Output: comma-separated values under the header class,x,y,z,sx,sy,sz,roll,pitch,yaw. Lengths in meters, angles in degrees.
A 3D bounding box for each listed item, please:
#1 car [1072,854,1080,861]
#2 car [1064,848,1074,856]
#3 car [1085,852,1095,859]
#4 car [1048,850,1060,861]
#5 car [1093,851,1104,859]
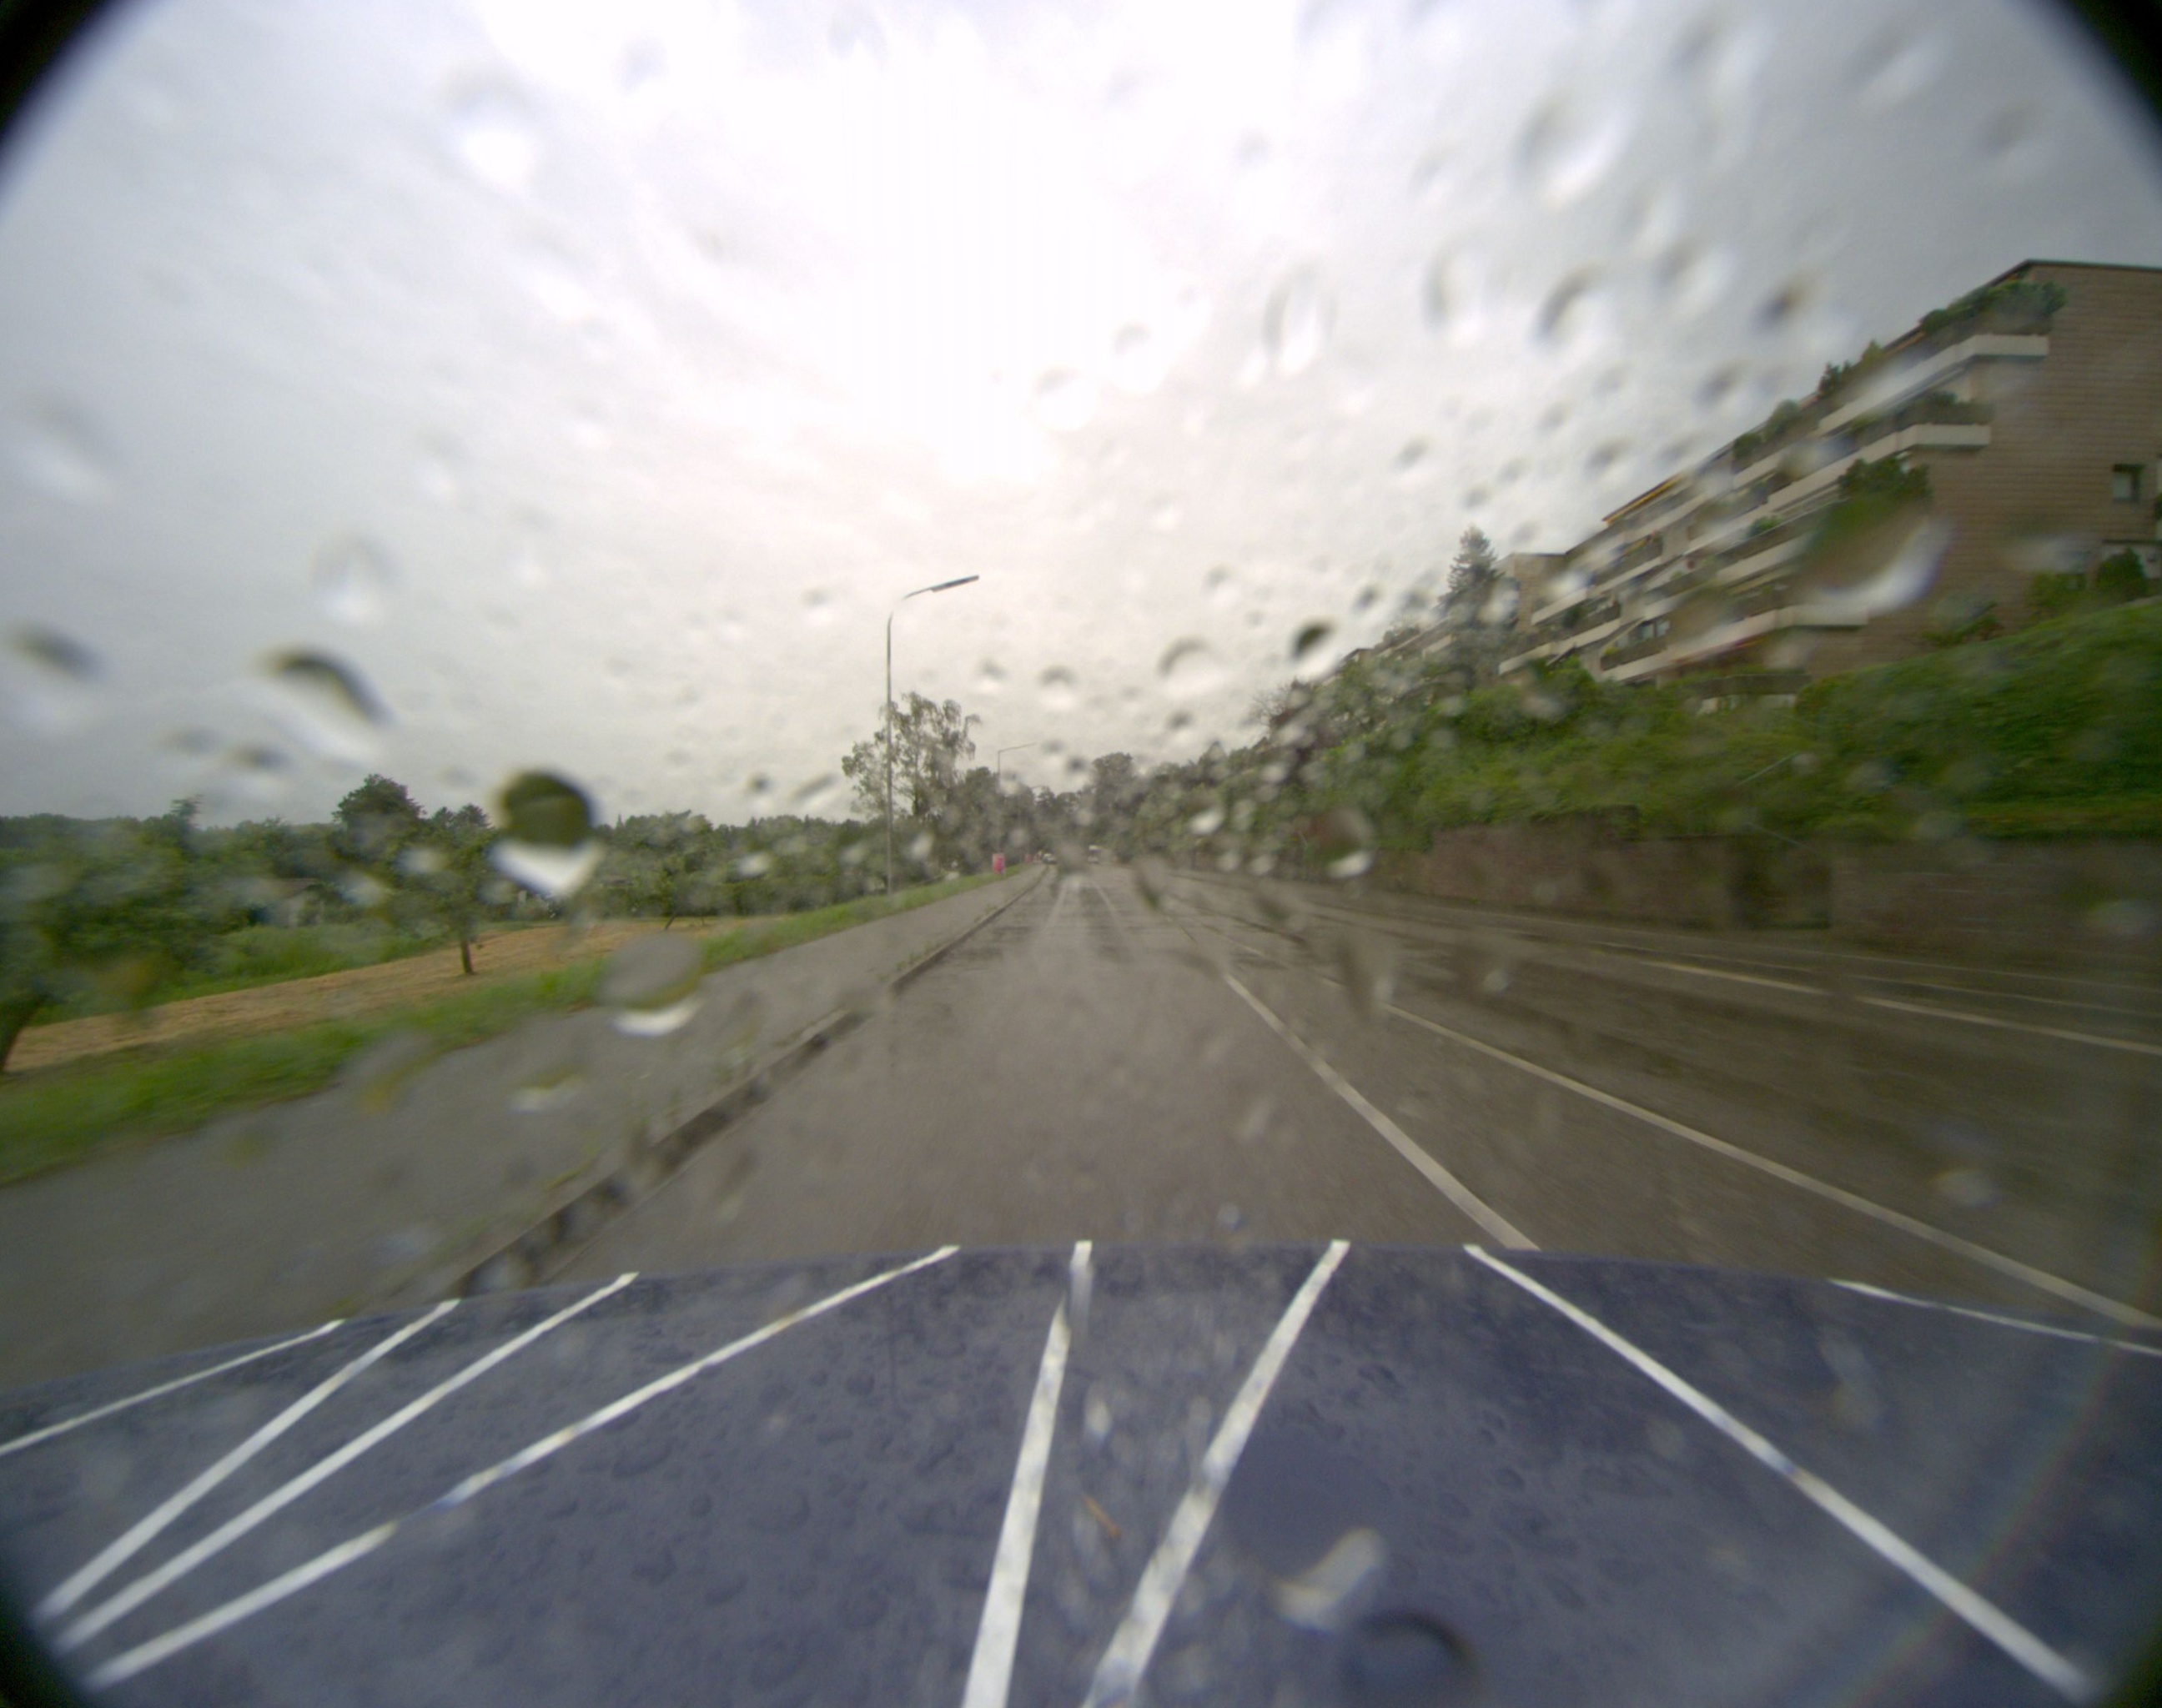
class,x,y,z,sx,sy,sz,roll,pitch,yaw
car,-1.083,0.740,159.272,1.597,1.433,3.703,1,0,-3
car,-3.360,-0.502,206.001,1.855,2.137,3.701,-2,0,-13
car,1.918,0.321,166.894,1.853,1.583,3.704,-2,0,-3
car,-4.957,0.314,139.957,1.999,2.001,4.000,-1,0,-1
car,3.486,0.224,149.088,1.853,1.583,3.704,-2,0,-3
